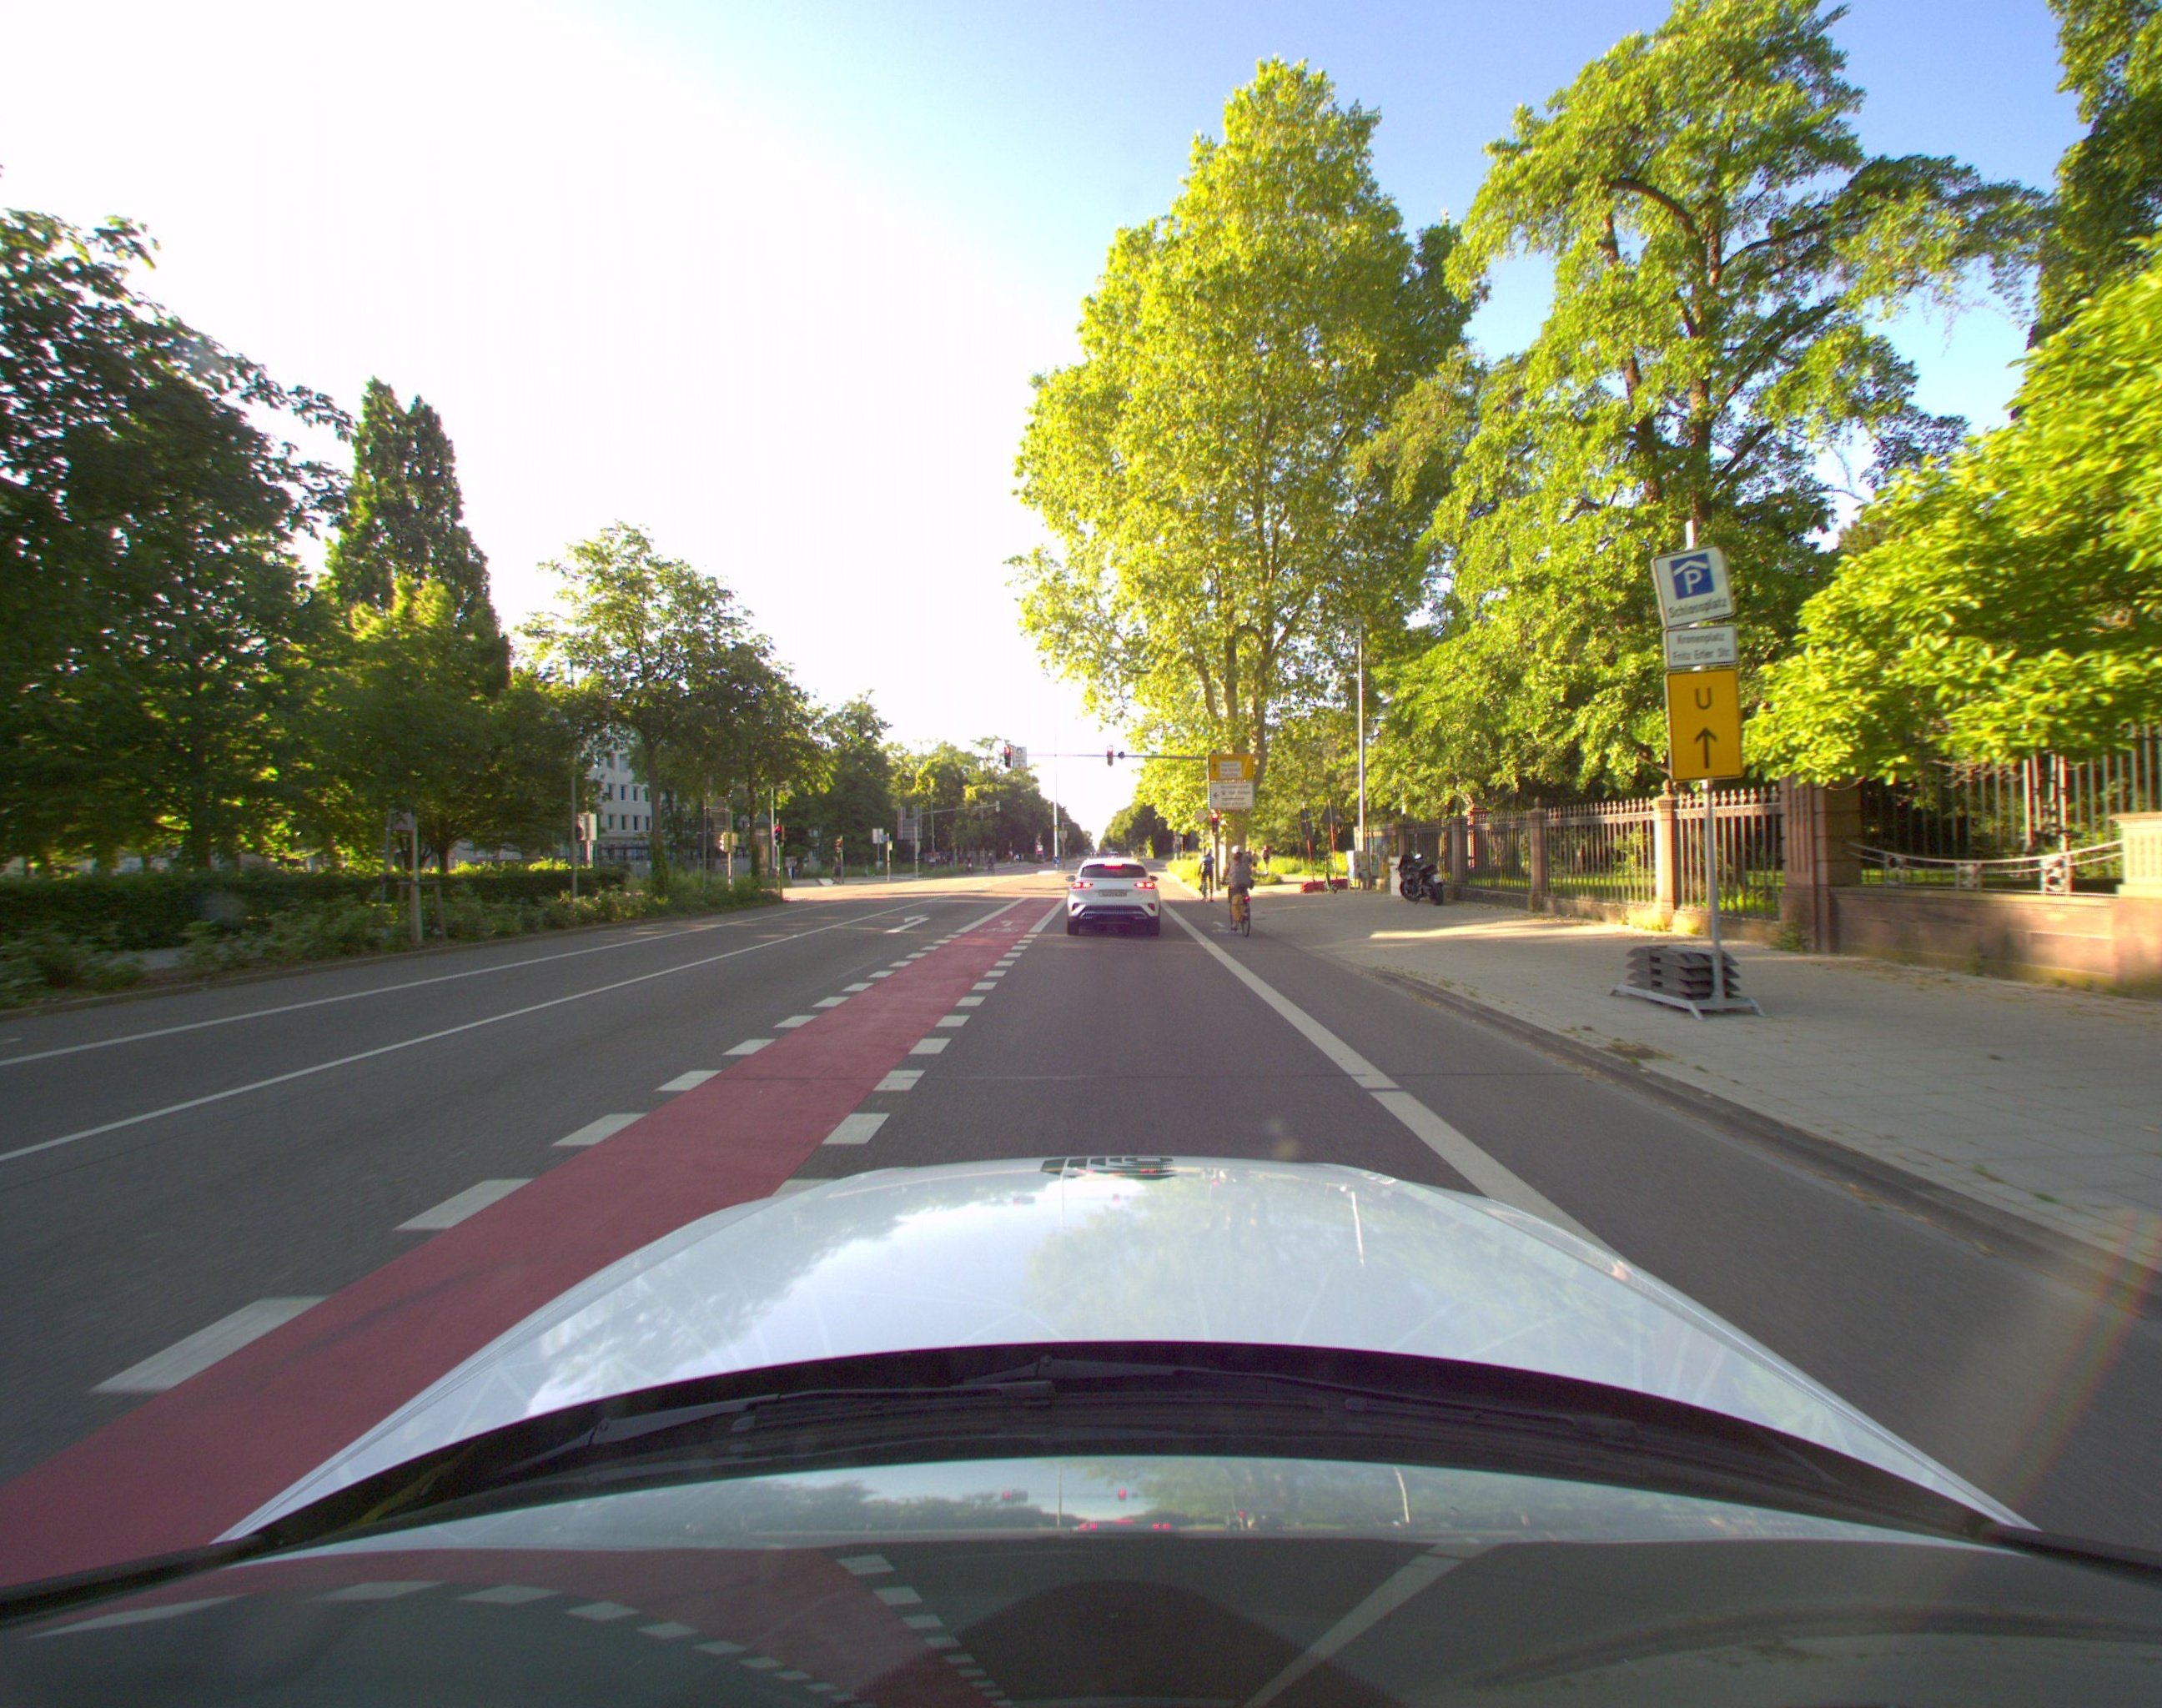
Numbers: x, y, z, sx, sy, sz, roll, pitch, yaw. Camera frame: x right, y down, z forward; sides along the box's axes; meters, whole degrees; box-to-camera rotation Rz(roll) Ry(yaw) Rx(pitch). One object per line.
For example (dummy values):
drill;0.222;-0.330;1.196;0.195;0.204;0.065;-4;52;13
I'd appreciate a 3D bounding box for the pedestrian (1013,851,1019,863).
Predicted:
pedestrian;-9.298;0.420;117.150;0.781;1.785;0.752;0;-1;3

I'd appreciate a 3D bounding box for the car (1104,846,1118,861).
car;4.296;-0.016;115.786;1.985;2.013;4.003;-2;0;3

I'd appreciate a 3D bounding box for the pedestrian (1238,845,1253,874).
pedestrian;9.781;0.332;48.462;0.688;1.699;0.643;-2;0;-4

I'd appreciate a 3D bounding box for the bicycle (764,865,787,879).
bicycle;-24.596;1.465;65.510;1.847;1.148;0.445;0;-1;15

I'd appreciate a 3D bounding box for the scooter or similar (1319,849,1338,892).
scooter or similar;7.853;0.514;25.889;0.227;1.327;1.172;-2;0;1

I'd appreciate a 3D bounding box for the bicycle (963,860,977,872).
bicycle;-9.823;1.045;72.068;0.576;0.989;2.719;-2;0;6

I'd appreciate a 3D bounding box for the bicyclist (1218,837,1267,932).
bicyclist;3.144;0.572;15.964;0.750;1.795;1.165;1;0;1

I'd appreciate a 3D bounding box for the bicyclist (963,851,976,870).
bicyclist;-9.833;0.553;72.141;0.871;1.606;0.979;-2;0;6

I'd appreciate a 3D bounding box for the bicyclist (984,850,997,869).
bicyclist;-7.939;0.491;71.493;0.871;1.608;1.190;-2;0;4

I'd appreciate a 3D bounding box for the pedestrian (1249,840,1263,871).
pedestrian;10.473;0.091;48.713;0.614;1.771;0.646;-2;0;-5

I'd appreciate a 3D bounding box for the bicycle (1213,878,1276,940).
bicycle;3.138;1.019;15.888;0.755;1.013;2.570;1;0;1

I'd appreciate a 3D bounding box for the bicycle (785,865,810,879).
bicycle;-22.726;1.456;65.220;1.858;1.148;0.290;0;-1;-5

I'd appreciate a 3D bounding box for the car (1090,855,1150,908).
car;1.171;0.817;25.659;1.722;1.483;3.517;-2;0;1

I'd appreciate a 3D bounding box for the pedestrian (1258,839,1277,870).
pedestrian;11.217;0.032;49.026;0.816;1.771;0.831;-2;0;-5

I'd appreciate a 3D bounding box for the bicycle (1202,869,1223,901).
bicycle;4.296;0.994;26.676;0.400;0.956;1.551;-4;-1;1

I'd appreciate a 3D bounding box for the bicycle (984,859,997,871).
bicycle;-7.931;0.990;71.367;0.660;0.989;2.507;-2;0;5

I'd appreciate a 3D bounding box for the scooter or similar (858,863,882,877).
scooter or similar;-17.435;1.277;67.279;0.703;1.124;1.933;-1;-1;35

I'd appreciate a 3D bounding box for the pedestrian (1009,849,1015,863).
pedestrian;-9.790;0.329;116.024;0.637;2.014;0.756;0;-1;13

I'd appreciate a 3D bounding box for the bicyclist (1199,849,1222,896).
bicyclist;4.267;0.600;26.854;0.552;1.478;0.717;-4;-1;1

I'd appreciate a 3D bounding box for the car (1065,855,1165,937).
car;0.676;0.774;17.033;1.815;1.480;3.937;-1;0;1

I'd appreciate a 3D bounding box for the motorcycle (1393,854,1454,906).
motorcycle;8.033;0.581;19.191;0.504;1.131;2.171;-3;-1;1

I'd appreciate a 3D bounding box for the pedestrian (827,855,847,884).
pedestrian;-17.453;1.100;58.281;0.989;2.014;1.193;0;-1;8
